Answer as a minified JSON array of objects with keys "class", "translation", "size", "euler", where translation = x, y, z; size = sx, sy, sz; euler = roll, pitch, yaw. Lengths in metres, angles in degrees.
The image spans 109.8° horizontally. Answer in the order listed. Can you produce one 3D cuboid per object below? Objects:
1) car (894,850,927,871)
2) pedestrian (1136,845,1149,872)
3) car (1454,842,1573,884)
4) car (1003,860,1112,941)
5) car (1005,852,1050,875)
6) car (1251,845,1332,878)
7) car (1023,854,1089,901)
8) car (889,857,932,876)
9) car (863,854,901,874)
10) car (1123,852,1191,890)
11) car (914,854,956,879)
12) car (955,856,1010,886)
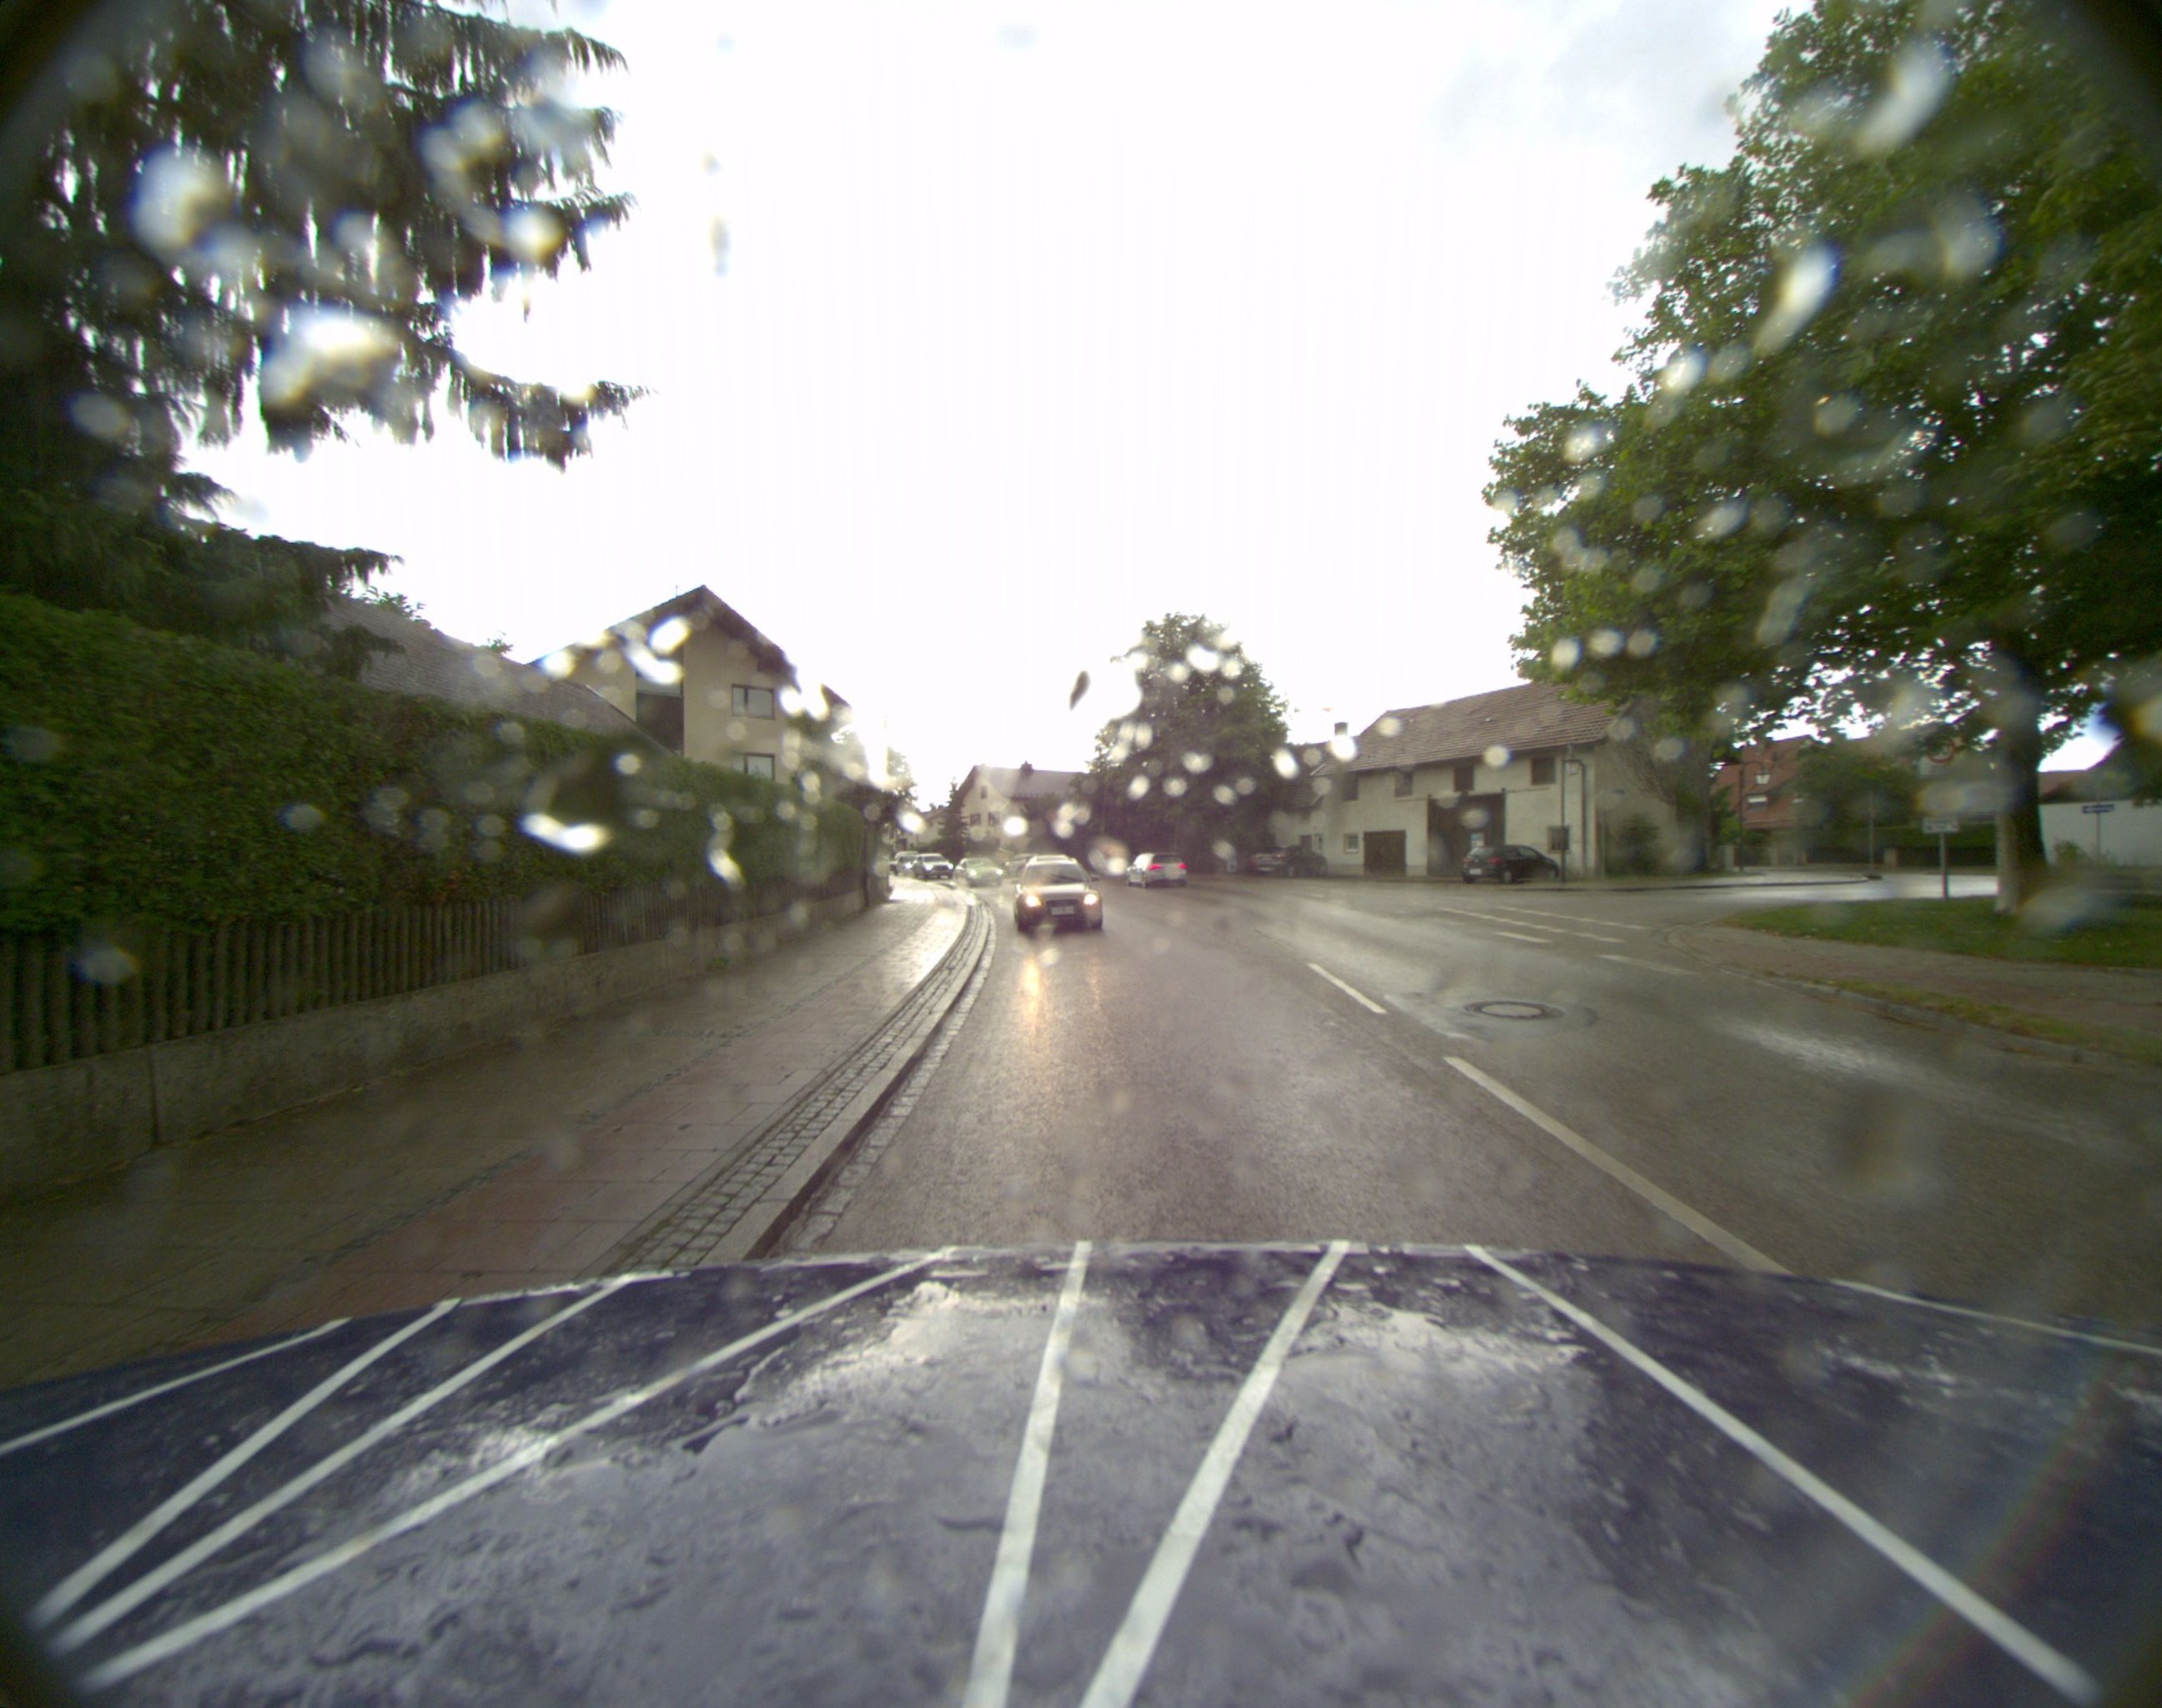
[{"class":"car","translation":[-15.865,0.602,70.719],"size":[1.648,1.755,4.320],"euler":[-3,1,-31]},{"class":"pedestrian","translation":[3.726,0.264,46.059],"size":[0.652,1.619,0.479],"euler":[-1,1,17]},{"class":"car","translation":[16.193,0.305,28.429],"size":[4.287,1.428,1.817],"euler":[-1,1,-27]},{"class":"car","translation":[-0.665,0.909,16.839],"size":[1.795,1.387,4.277],"euler":[-3,1,-10]},{"class":"car","translation":[-3.640,0.639,51.077],"size":[1.625,1.436,3.662],"euler":[-3,1,-28]},{"class":"car","translation":[10.447,0.354,37.538],"size":[4.290,1.539,1.812],"euler":[1,0,-42]},{"class":"car","translation":[-1.047,0.793,28.539],"size":[1.795,1.471,5.380],"euler":[-3,1,-8]},{"class":"car","translation":[-13.107,0.940,58.173],"size":[1.798,1.365,4.271],"euler":[-3,1,-32]},{"class":"car","translation":[-16.912,0.828,64.438],"size":[1.798,1.539,4.271],"euler":[-3,1,-32]},{"class":"car","translation":[3.148,0.678,32.354],"size":[1.722,1.434,3.995],"euler":[-3,1,-12]},{"class":"car","translation":[-9.838,0.799,51.096],"size":[1.797,1.539,4.272],"euler":[-3,1,-24]},{"class":"car","translation":[-5.226,0.869,39.839],"size":[1.797,1.387,4.273],"euler":[-3,1,-21]}]
